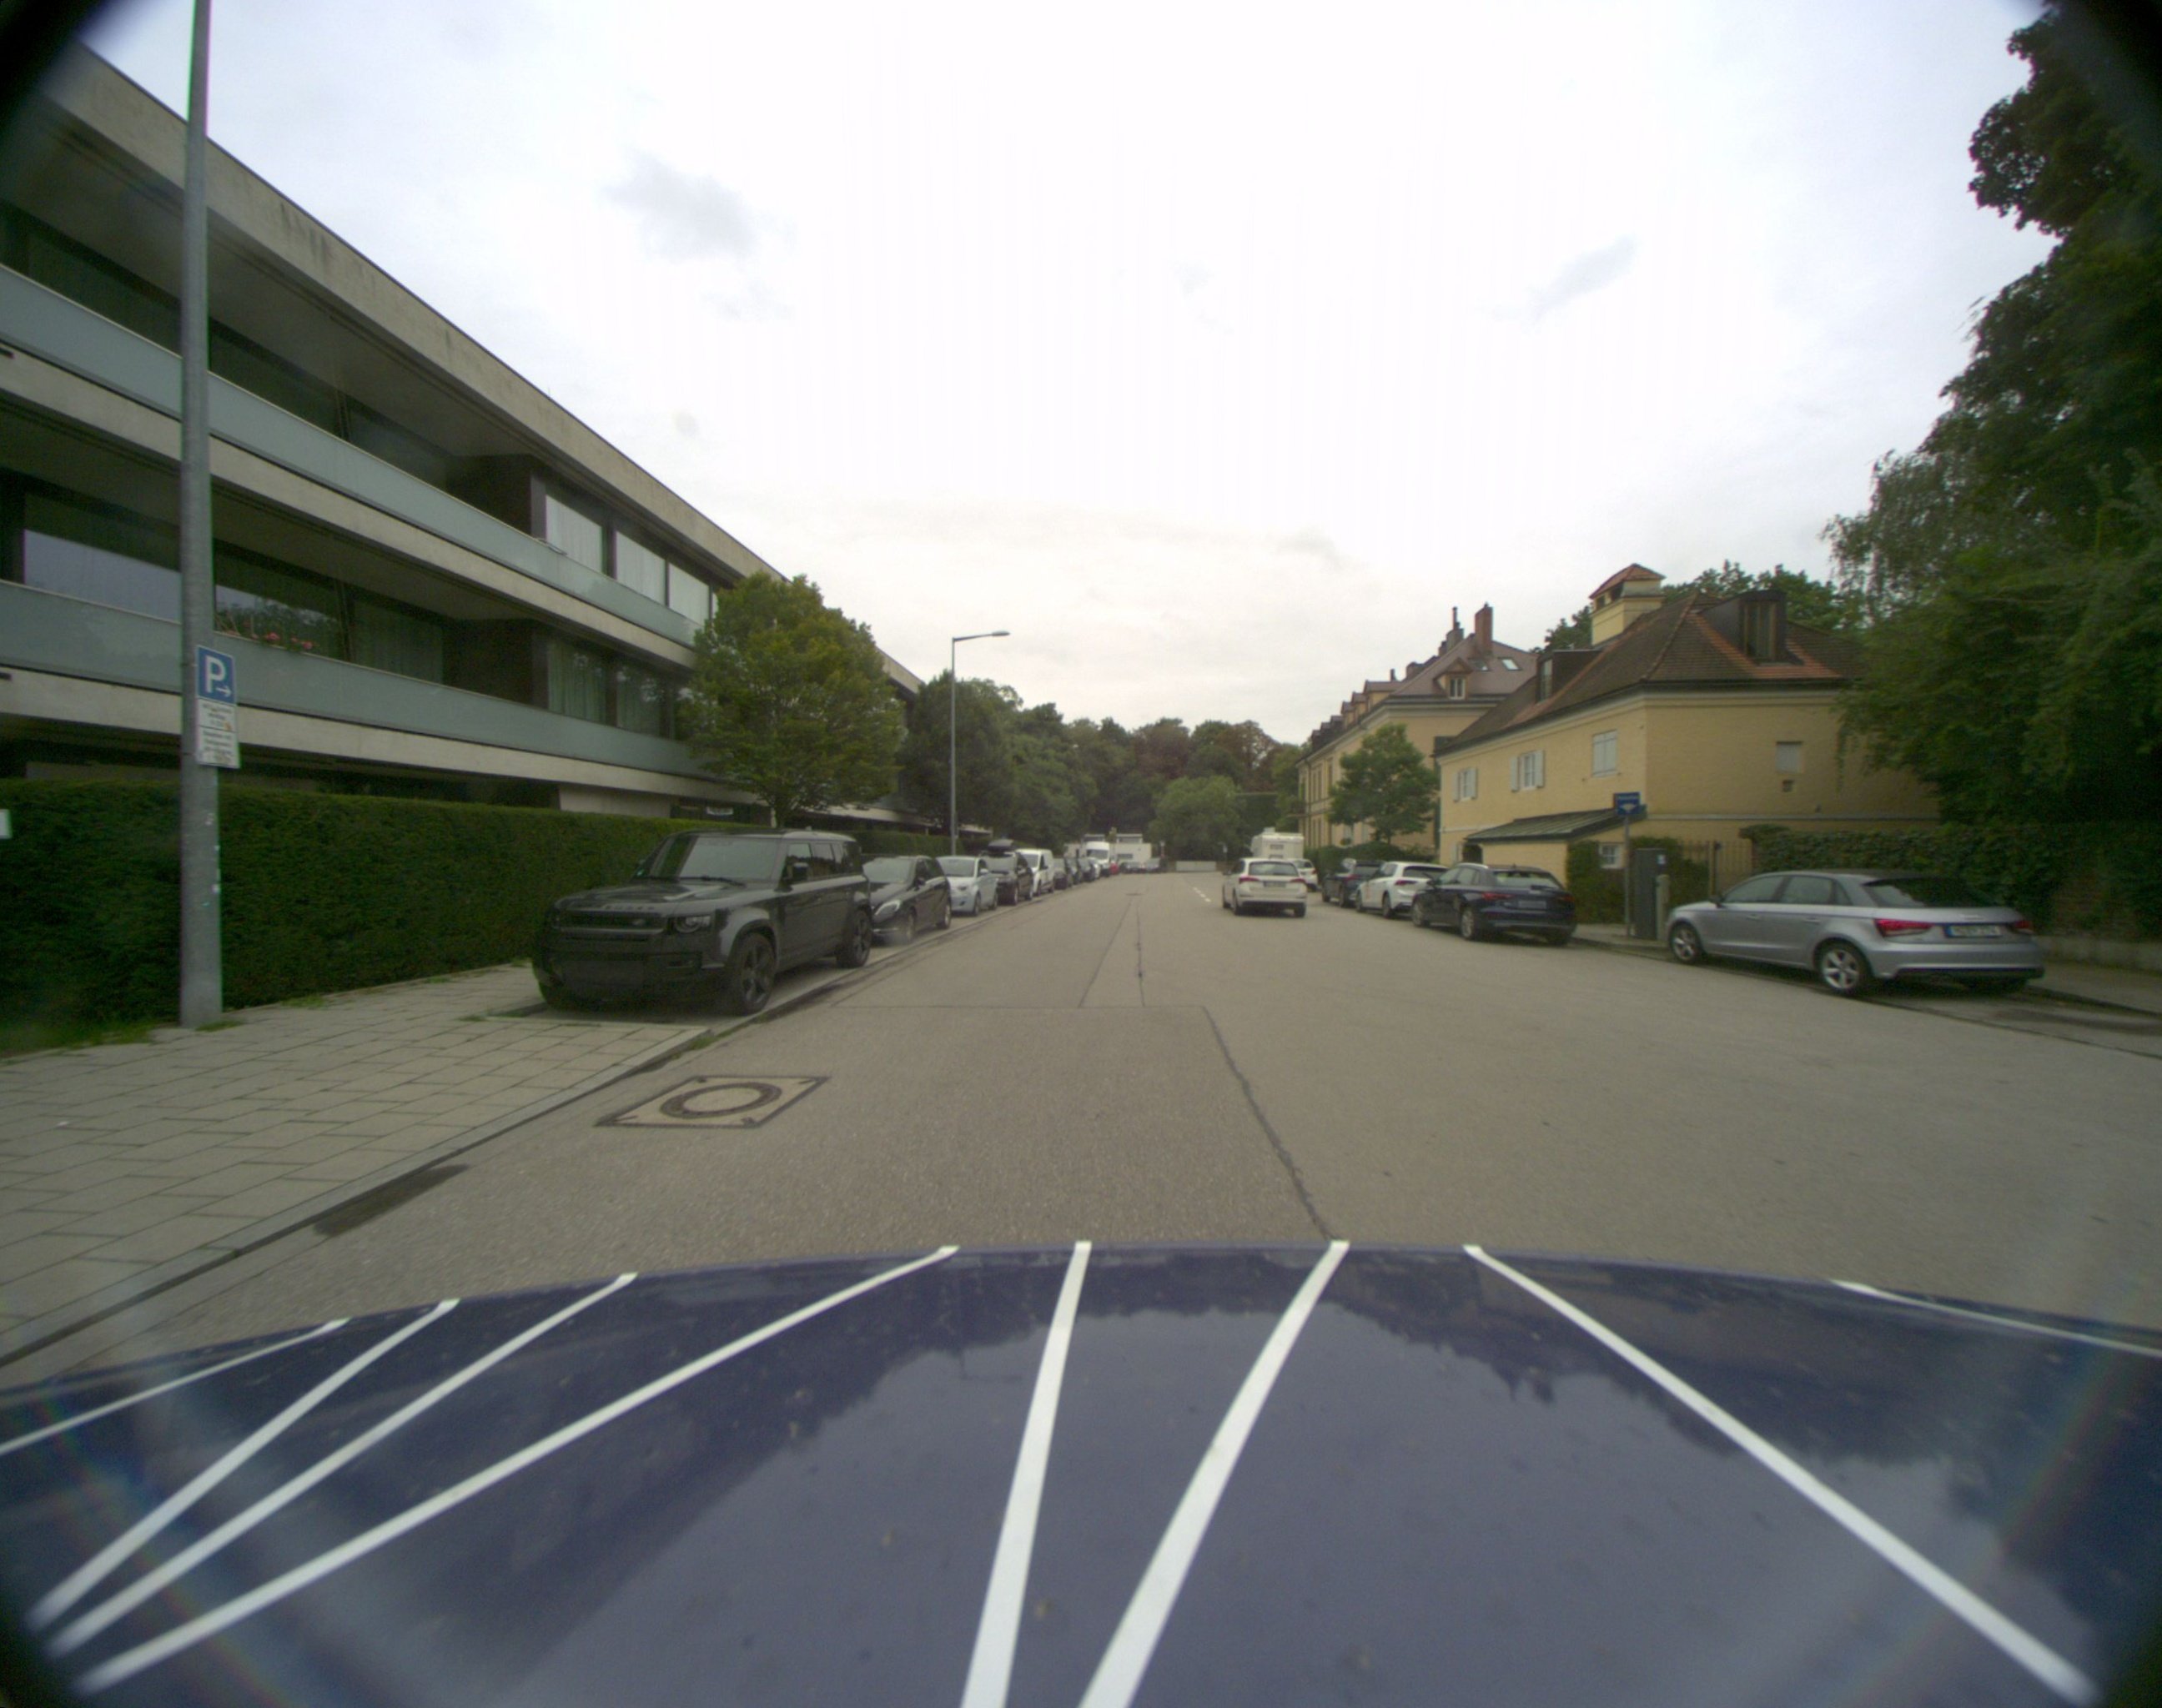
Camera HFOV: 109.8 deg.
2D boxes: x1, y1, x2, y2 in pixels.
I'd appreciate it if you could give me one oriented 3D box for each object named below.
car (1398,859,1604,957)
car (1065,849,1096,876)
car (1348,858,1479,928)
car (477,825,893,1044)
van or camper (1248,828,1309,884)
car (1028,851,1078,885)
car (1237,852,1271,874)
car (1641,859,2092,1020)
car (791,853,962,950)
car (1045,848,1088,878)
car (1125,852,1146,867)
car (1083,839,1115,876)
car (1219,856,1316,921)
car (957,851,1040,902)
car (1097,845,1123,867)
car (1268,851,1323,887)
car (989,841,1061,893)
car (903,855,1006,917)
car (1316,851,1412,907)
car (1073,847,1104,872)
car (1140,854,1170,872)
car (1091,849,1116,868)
[{"bbox_3d":[8.101,0.932,15.247,1.849,1.526,4.563,2,1,5],"label":"car"},{"bbox_3d":[0.029,0.479,46.330,1.283,1.497,5.210,2,0,6],"label":"car"},{"bbox_3d":[8.622,0.918,20.140,1.849,1.526,4.523,2,1,6],"label":"car"},{"bbox_3d":[-4.003,0.642,9.005,1.992,1.860,5.078,-1,1,3],"label":"car"},{"bbox_3d":[11.307,0.074,44.078,2.459,2.924,7.215,2,1,7],"label":"van or camper"},{"bbox_3d":[-1.236,0.600,35.611,1.751,1.455,4.244,1,0,6],"label":"car"},{"bbox_3d":[12.885,0.621,56.871,1.939,1.526,4.533,2,1,7],"label":"car"},{"bbox_3d":[9.636,0.893,9.941,1.744,1.526,4.150,2,1,5],"label":"car"},{"bbox_3d":[-3.606,0.749,14.366,1.752,1.530,4.570,0,0,3],"label":"car"},{"bbox_3d":[-0.727,0.457,40.928,1.730,1.520,4.206,2,0,6],"label":"car"},{"bbox_3d":[5.866,0.593,81.773,1.896,1.438,4.269,-2,-1,0],"label":"car"},{"bbox_3d":[1.464,0.249,59.167,2.084,2.671,6.090,2,0,5],"label":"car"},{"bbox_3d":[4.733,0.821,19.853,1.776,1.466,4.134,0,1,4],"label":"car"},{"bbox_3d":[-2.554,0.670,24.653,1.751,1.472,4.600,-1,0,6],"label":"car"},{"bbox_3d":[2.724,0.228,70.567,1.938,1.893,5.075,2,0,7],"label":"car"},{"bbox_3d":[10.137,0.659,36.151,1.782,1.526,4.230,2,1,6],"label":"car"},{"bbox_3d":[-2.087,0.463,29.785,1.826,1.850,4.900,-1,0,7],"label":"car"},{"bbox_3d":[-3.225,0.761,20.082,1.751,1.472,3.889,0,0,5],"label":"car"},{"bbox_3d":[9.154,0.743,24.931,1.849,1.526,4.442,2,1,6],"label":"car"},{"bbox_3d":[0.585,0.382,52.515,1.875,1.560,5.003,2,0,3],"label":"car"},{"bbox_3d":[7.432,0.899,75.715,1.995,1.682,4.342,0,-2,19],"label":"car"},{"bbox_3d":[1.968,0.399,65.382,1.874,1.498,4.840,2,0,5],"label":"car"}]
